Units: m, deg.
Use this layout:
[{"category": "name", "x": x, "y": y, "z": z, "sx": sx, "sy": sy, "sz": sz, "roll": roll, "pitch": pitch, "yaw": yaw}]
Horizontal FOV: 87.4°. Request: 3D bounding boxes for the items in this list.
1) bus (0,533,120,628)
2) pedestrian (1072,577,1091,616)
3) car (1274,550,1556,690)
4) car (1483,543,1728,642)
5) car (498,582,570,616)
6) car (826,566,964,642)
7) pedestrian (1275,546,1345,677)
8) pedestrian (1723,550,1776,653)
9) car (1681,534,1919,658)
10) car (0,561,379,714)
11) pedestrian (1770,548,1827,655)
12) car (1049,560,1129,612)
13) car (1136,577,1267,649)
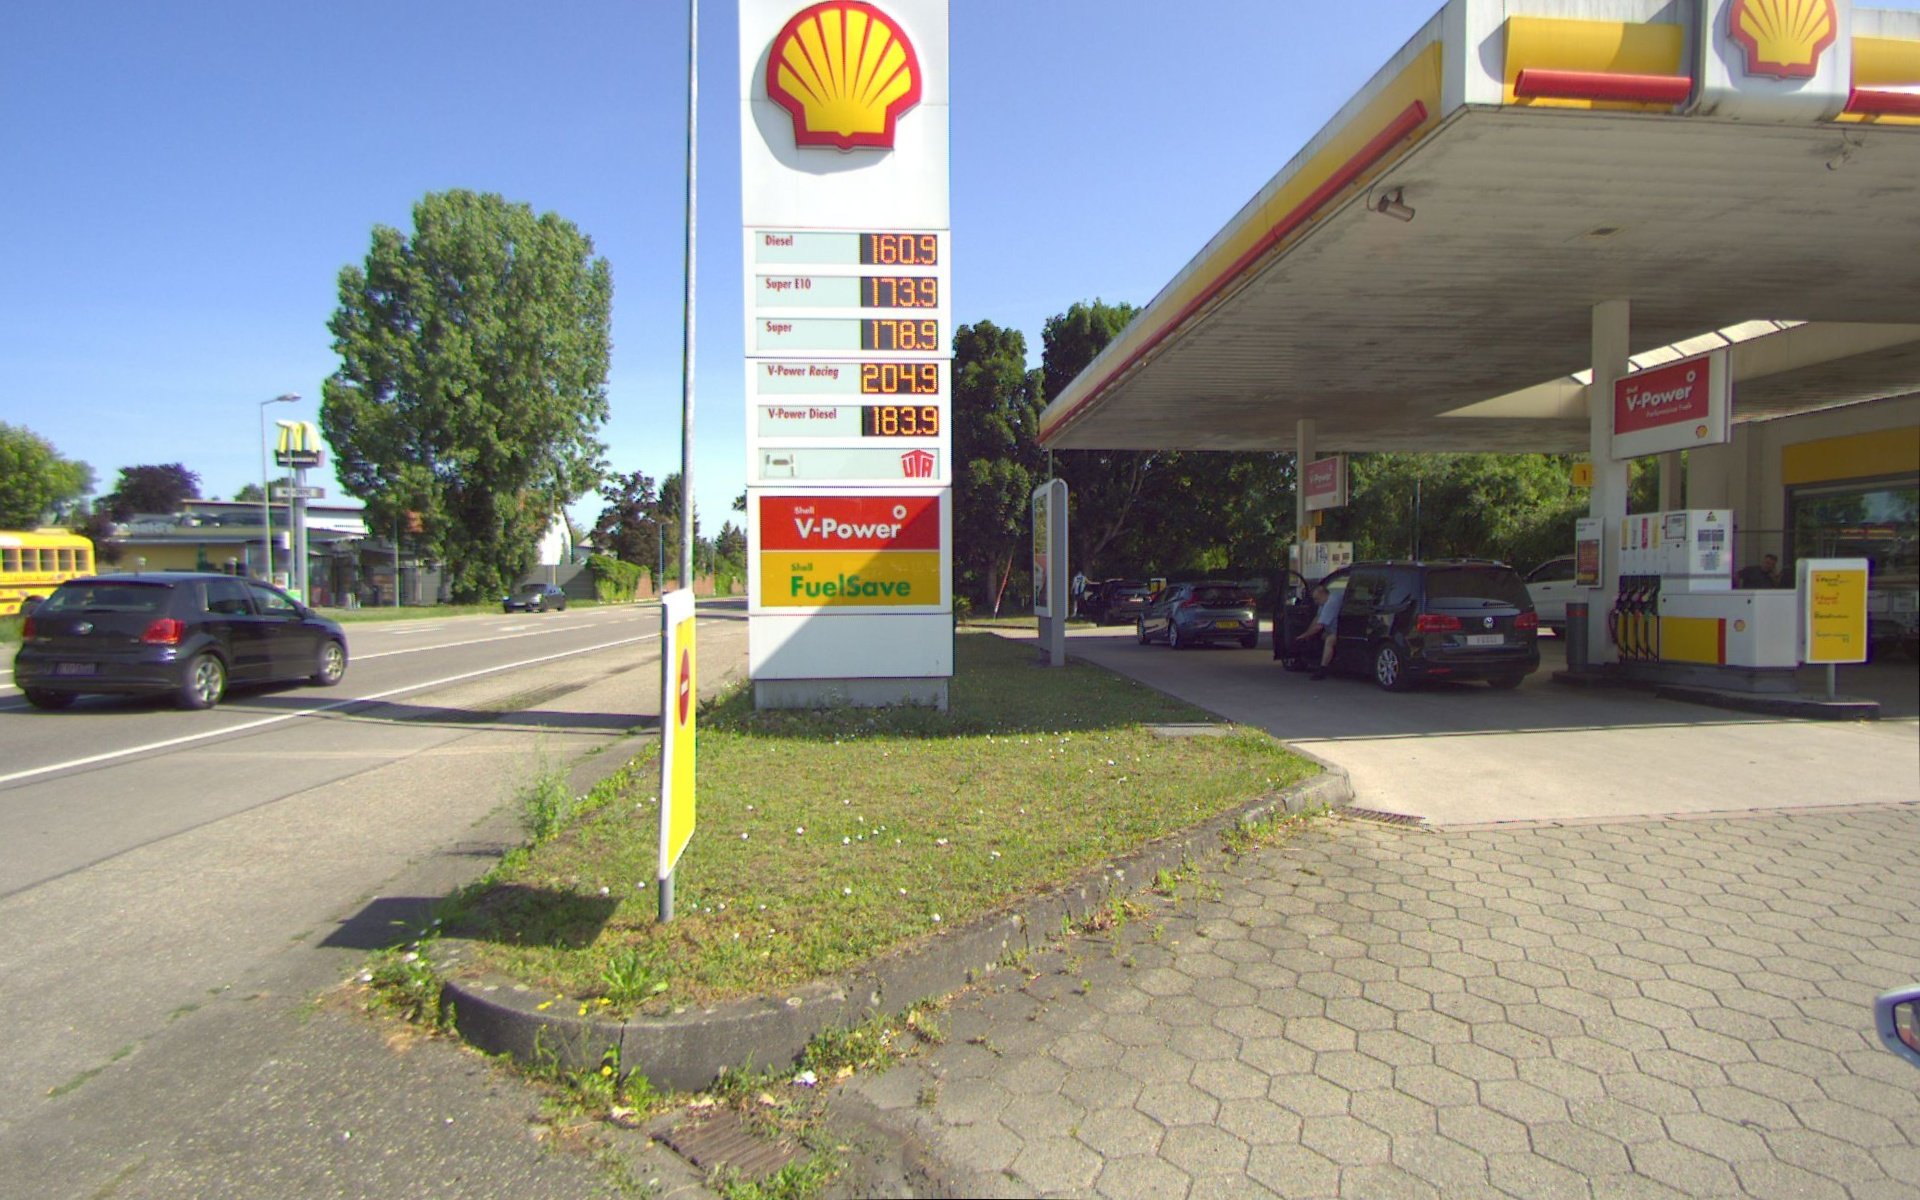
[{"category": "bus", "x": -28.755, "y": -0.570, "z": 28.872, "sx": 2.539, "sy": 2.715, "sz": 8.986, "roll": 1, "pitch": 0, "yaw": -7}, {"category": "pedestrian", "x": 4.873, "y": -0.152, "z": 40.292, "sx": 0.664, "sy": 1.557, "sz": 0.393, "roll": -1, "pitch": 1, "yaw": -1}, {"category": "car", "x": 5.915, "y": 0.207, "z": 13.618, "sx": 1.732, "sy": 1.599, "sz": 3.873, "roll": -1, "pitch": 1, "yaw": -7}, {"category": "car", "x": 13.583, "y": -0.177, "z": 21.573, "sx": 1.822, "sy": 1.862, "sz": 4.775, "roll": -1, "pitch": 1, "yaw": -7}, {"category": "car", "x": -21.315, "y": -0.057, "z": 50.491, "sx": 1.818, "sy": 1.516, "sz": 4.907, "roll": -2, "pitch": 0, "yaw": -5}, {"category": "car", "x": -1.447, "y": 0.093, "z": 22.059, "sx": 2.689, "sy": 1.550, "sz": 1.571, "roll": 0, "pitch": -1, "yaw": 39}, {"category": "pedestrian", "x": 4.849, "y": 0.149, "z": 13.957, "sx": 0.661, "sy": 1.752, "sz": 0.812, "roll": -1, "pitch": 1, "yaw": -1}, {"category": "pedestrian", "x": 12.923, "y": 0.017, "z": 16.453, "sx": 0.491, "sy": 1.653, "sz": 0.475, "roll": -1, "pitch": 1, "yaw": -2}, {"category": "car", "x": 14.033, "y": -0.069, "z": 16.246, "sx": 1.798, "sy": 1.751, "sz": 3.999, "roll": -1, "pitch": 0, "yaw": -2}, {"category": "car", "x": -8.674, "y": 0.336, "z": 11.749, "sx": 1.620, "sy": 1.450, "sz": 4.052, "roll": 1, "pitch": 1, "yaw": -4}, {"category": "pedestrian", "x": 12.948, "y": 0.020, "z": 15.518, "sx": 0.491, "sy": 1.615, "sz": 0.475, "roll": -1, "pitch": 1, "yaw": -2}, {"category": "car", "x": 4.750, "y": -0.507, "z": 37.458, "sx": 1.963, "sy": 1.789, "sz": 3.994, "roll": 1, "pitch": 0, "yaw": -8}, {"category": "car", "x": 5.113, "y": 0.232, "z": 21.757, "sx": 1.769, "sy": 1.379, "sz": 3.846, "roll": -1, "pitch": 1, "yaw": -2}]
